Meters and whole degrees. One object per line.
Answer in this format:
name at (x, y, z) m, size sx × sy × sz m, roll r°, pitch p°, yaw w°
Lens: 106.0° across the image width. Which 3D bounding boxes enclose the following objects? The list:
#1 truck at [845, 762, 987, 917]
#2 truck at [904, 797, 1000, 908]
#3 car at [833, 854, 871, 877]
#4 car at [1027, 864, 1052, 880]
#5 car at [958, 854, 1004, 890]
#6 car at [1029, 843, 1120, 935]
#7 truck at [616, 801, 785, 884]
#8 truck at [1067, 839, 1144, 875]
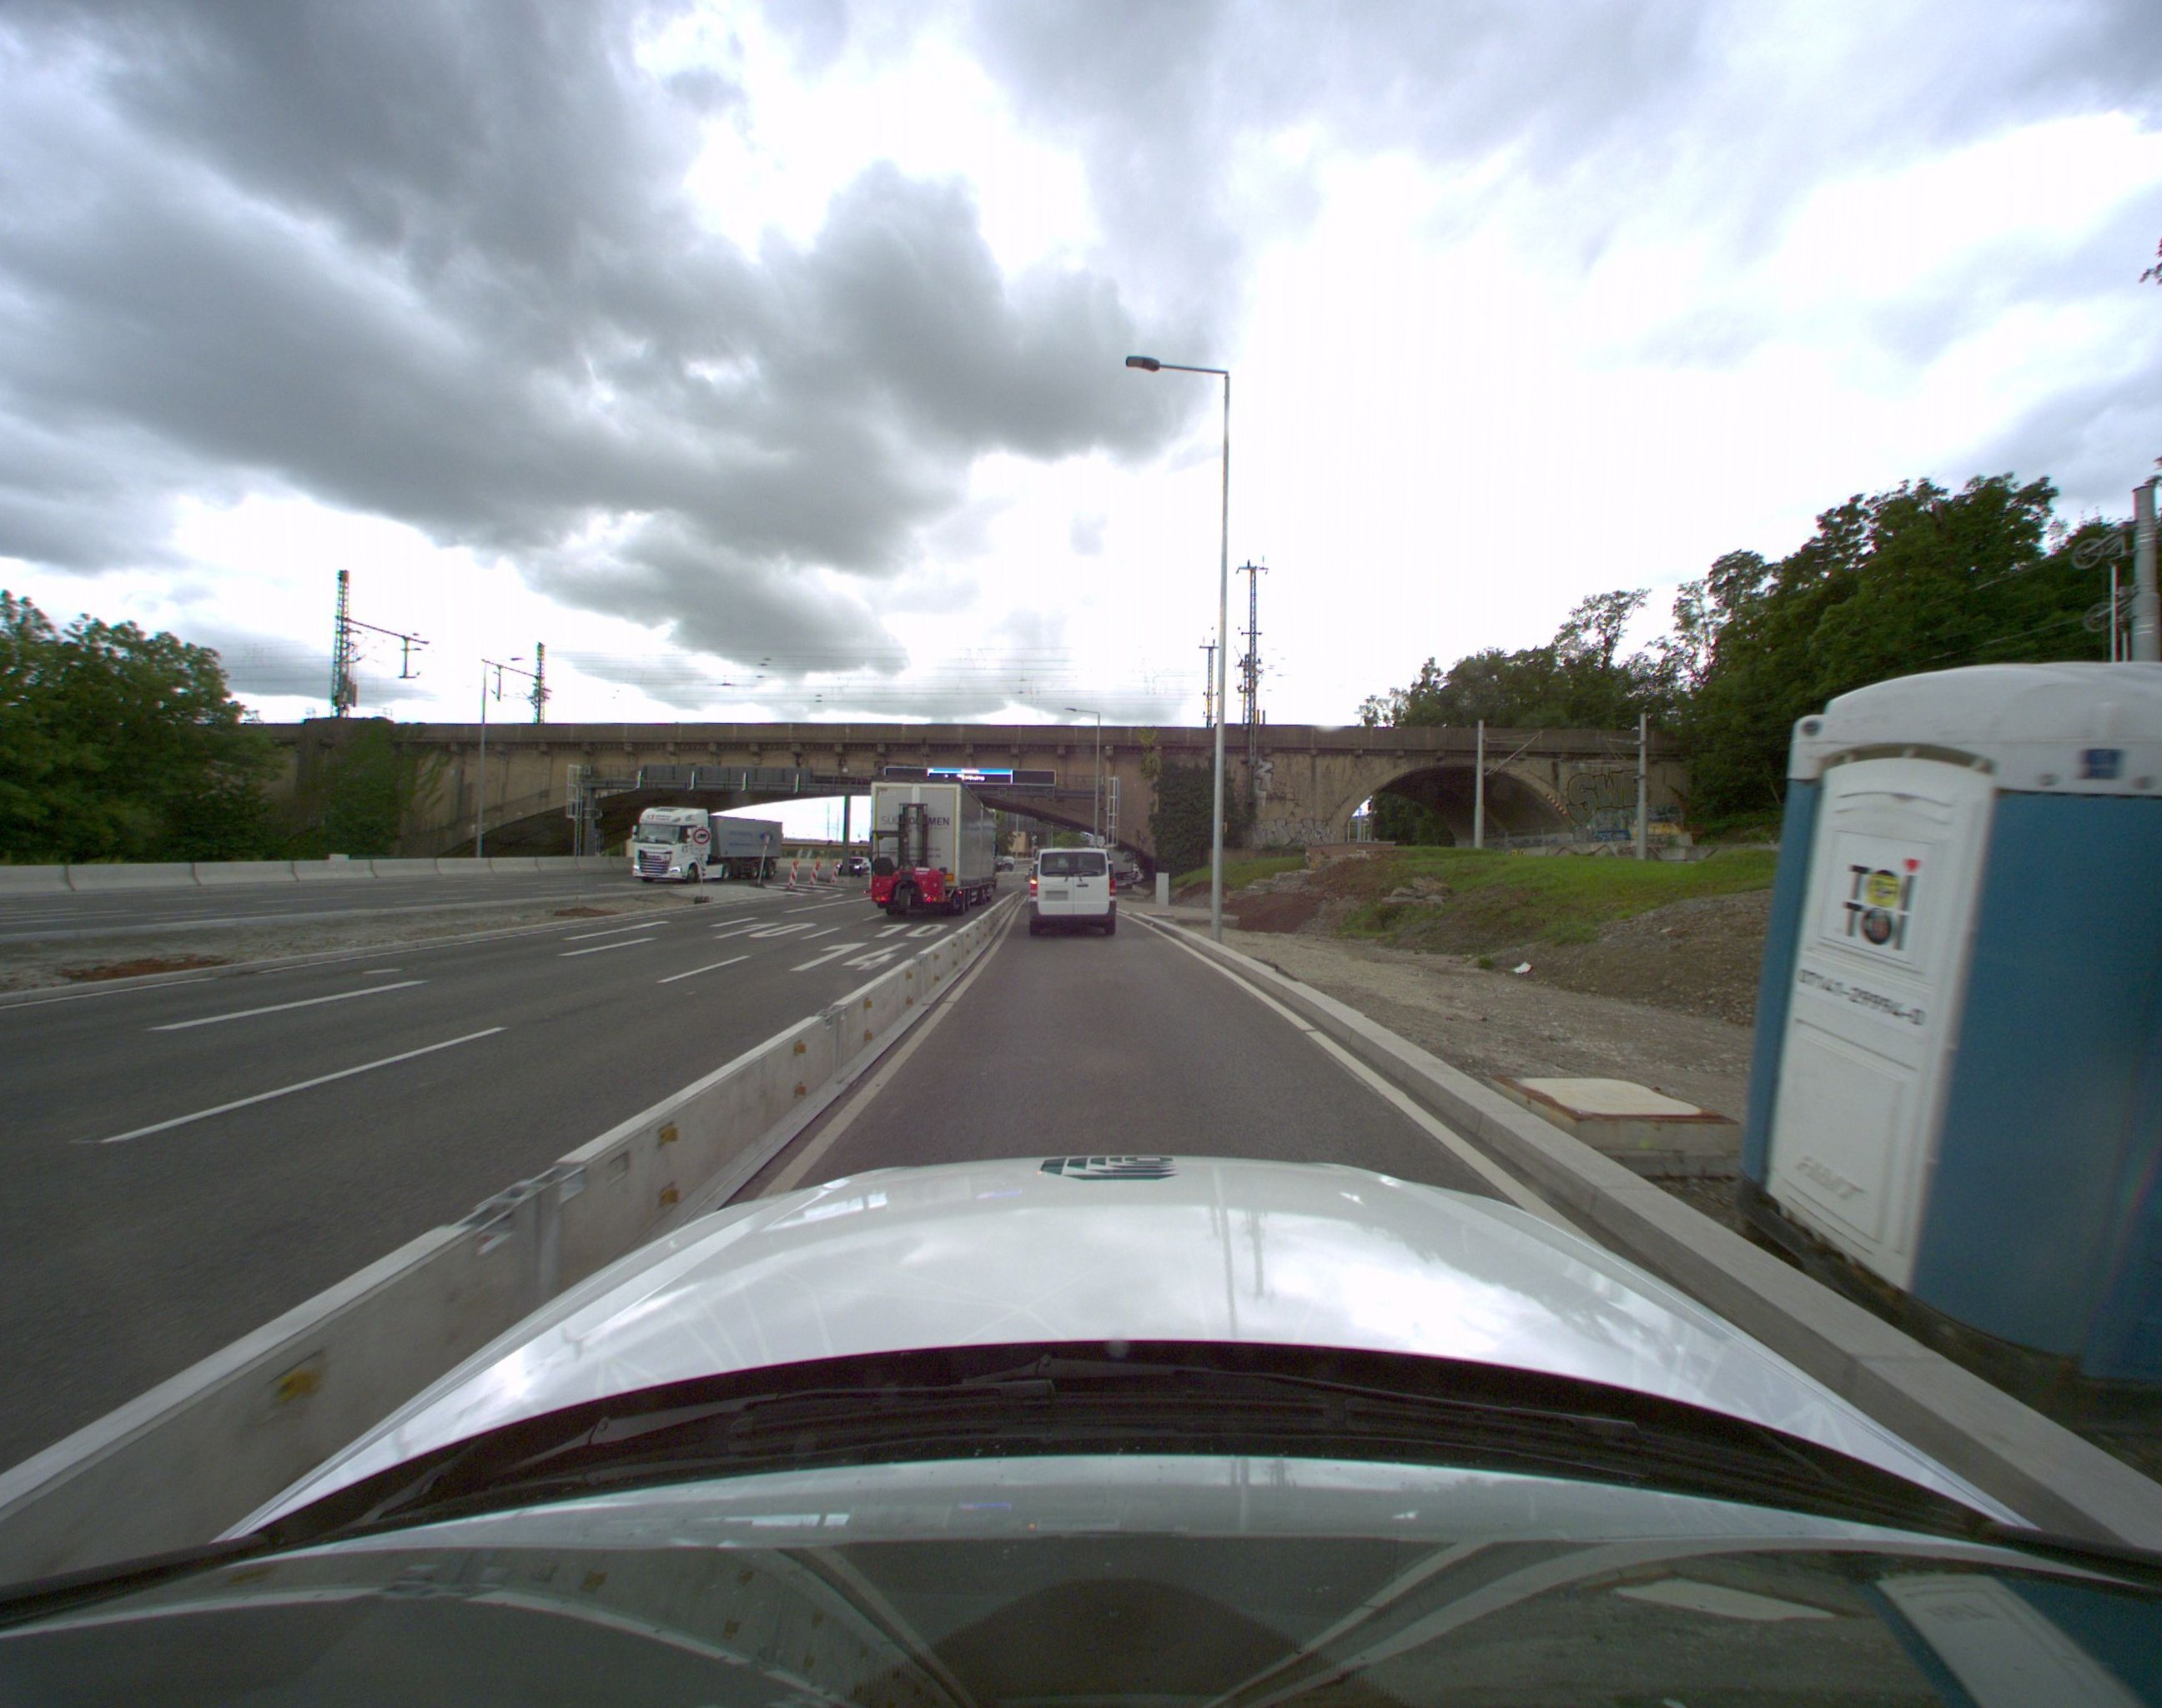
truck at (-4.952, -0.206, 26.717) m, size 2.911 × 4.018 × 10.187 m, roll 2°, pitch -2°, yaw -3°
truck at (-5.553, 0.178, 37.137) m, size 2.981 × 4.177 × 11.225 m, roll 2°, pitch -3°, yaw -3°
car at (-17.487, 0.879, 62.447) m, size 1.701 × 1.620 × 4.449 m, roll -2°, pitch -1°, yaw -1°
car at (-4.330, 1.894, 85.641) m, size 1.746 × 1.552 × 4.011 m, roll 1°, pitch 0°, yaw 10°
car at (-7.583, 1.331, 62.461) m, size 1.982 × 2.541 × 5.187 m, roll 3°, pitch 0°, yaw 9°
car at (-0.237, 0.759, 19.102) m, size 1.872 × 1.891 × 4.748 m, roll 0°, pitch -1°, yaw -3°
truck at (-21.334, -0.585, 47.255) m, size 2.888 × 4.061 × 13.993 m, roll 1°, pitch 0°, yaw 1°
truck at (3.177, 0.473, 96.154) m, size 3.288 × 3.809 × 16.679 m, roll 3°, pitch 0°, yaw 22°
